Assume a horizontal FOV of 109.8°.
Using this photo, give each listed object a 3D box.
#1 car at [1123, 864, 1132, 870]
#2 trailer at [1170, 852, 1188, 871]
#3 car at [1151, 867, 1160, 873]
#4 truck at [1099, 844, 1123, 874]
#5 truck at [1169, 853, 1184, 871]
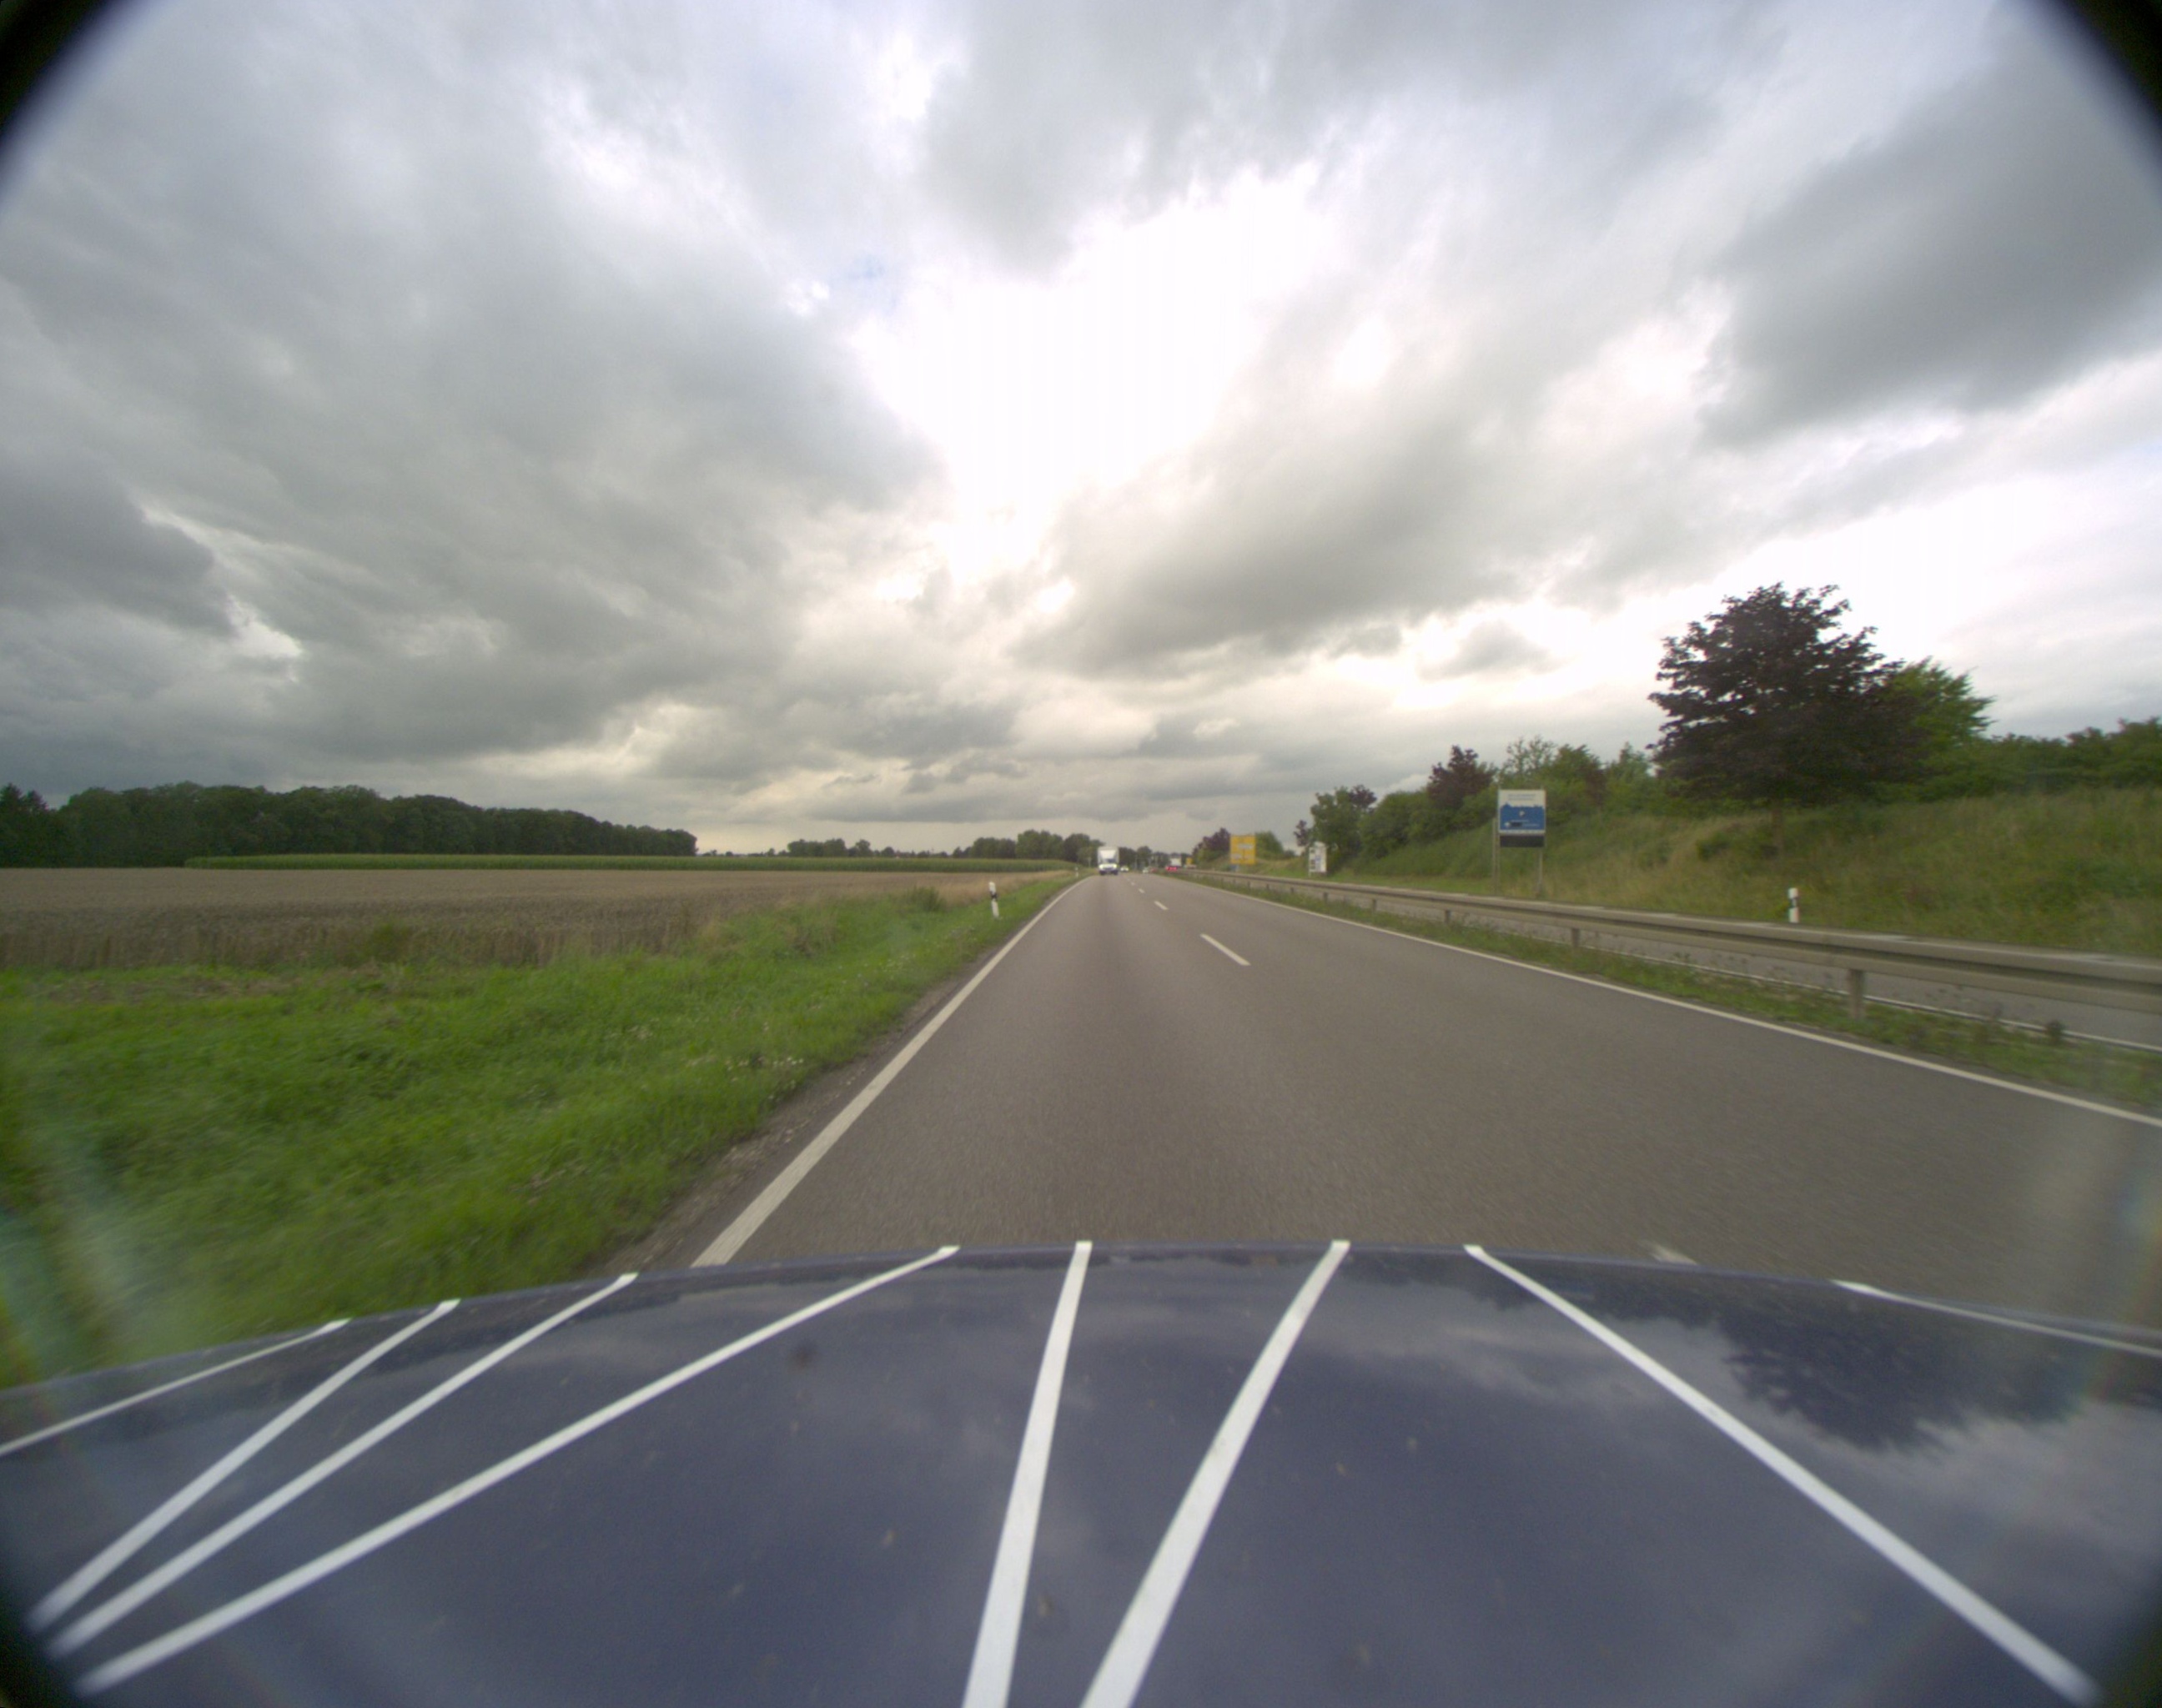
[{"bbox_3d":[12.012,3.363,196.155,2.090,1.510,4.195,0,-1,4],"label":"car"},{"bbox_3d":[20.457,1.668,159.492,2.781,3.923,12.991,0,-1,3],"label":"trailer"},{"bbox_3d":[18.777,4.092,191.702,2.090,1.510,4.195,0,-1,4],"label":"car"},{"bbox_3d":[3.883,0.680,96.695,2.933,3.651,8.447,0,-1,4],"label":"truck"},{"bbox_3d":[20.870,1.827,166.499,2.809,3.973,5.289,0,-1,3],"label":"truck"}]
